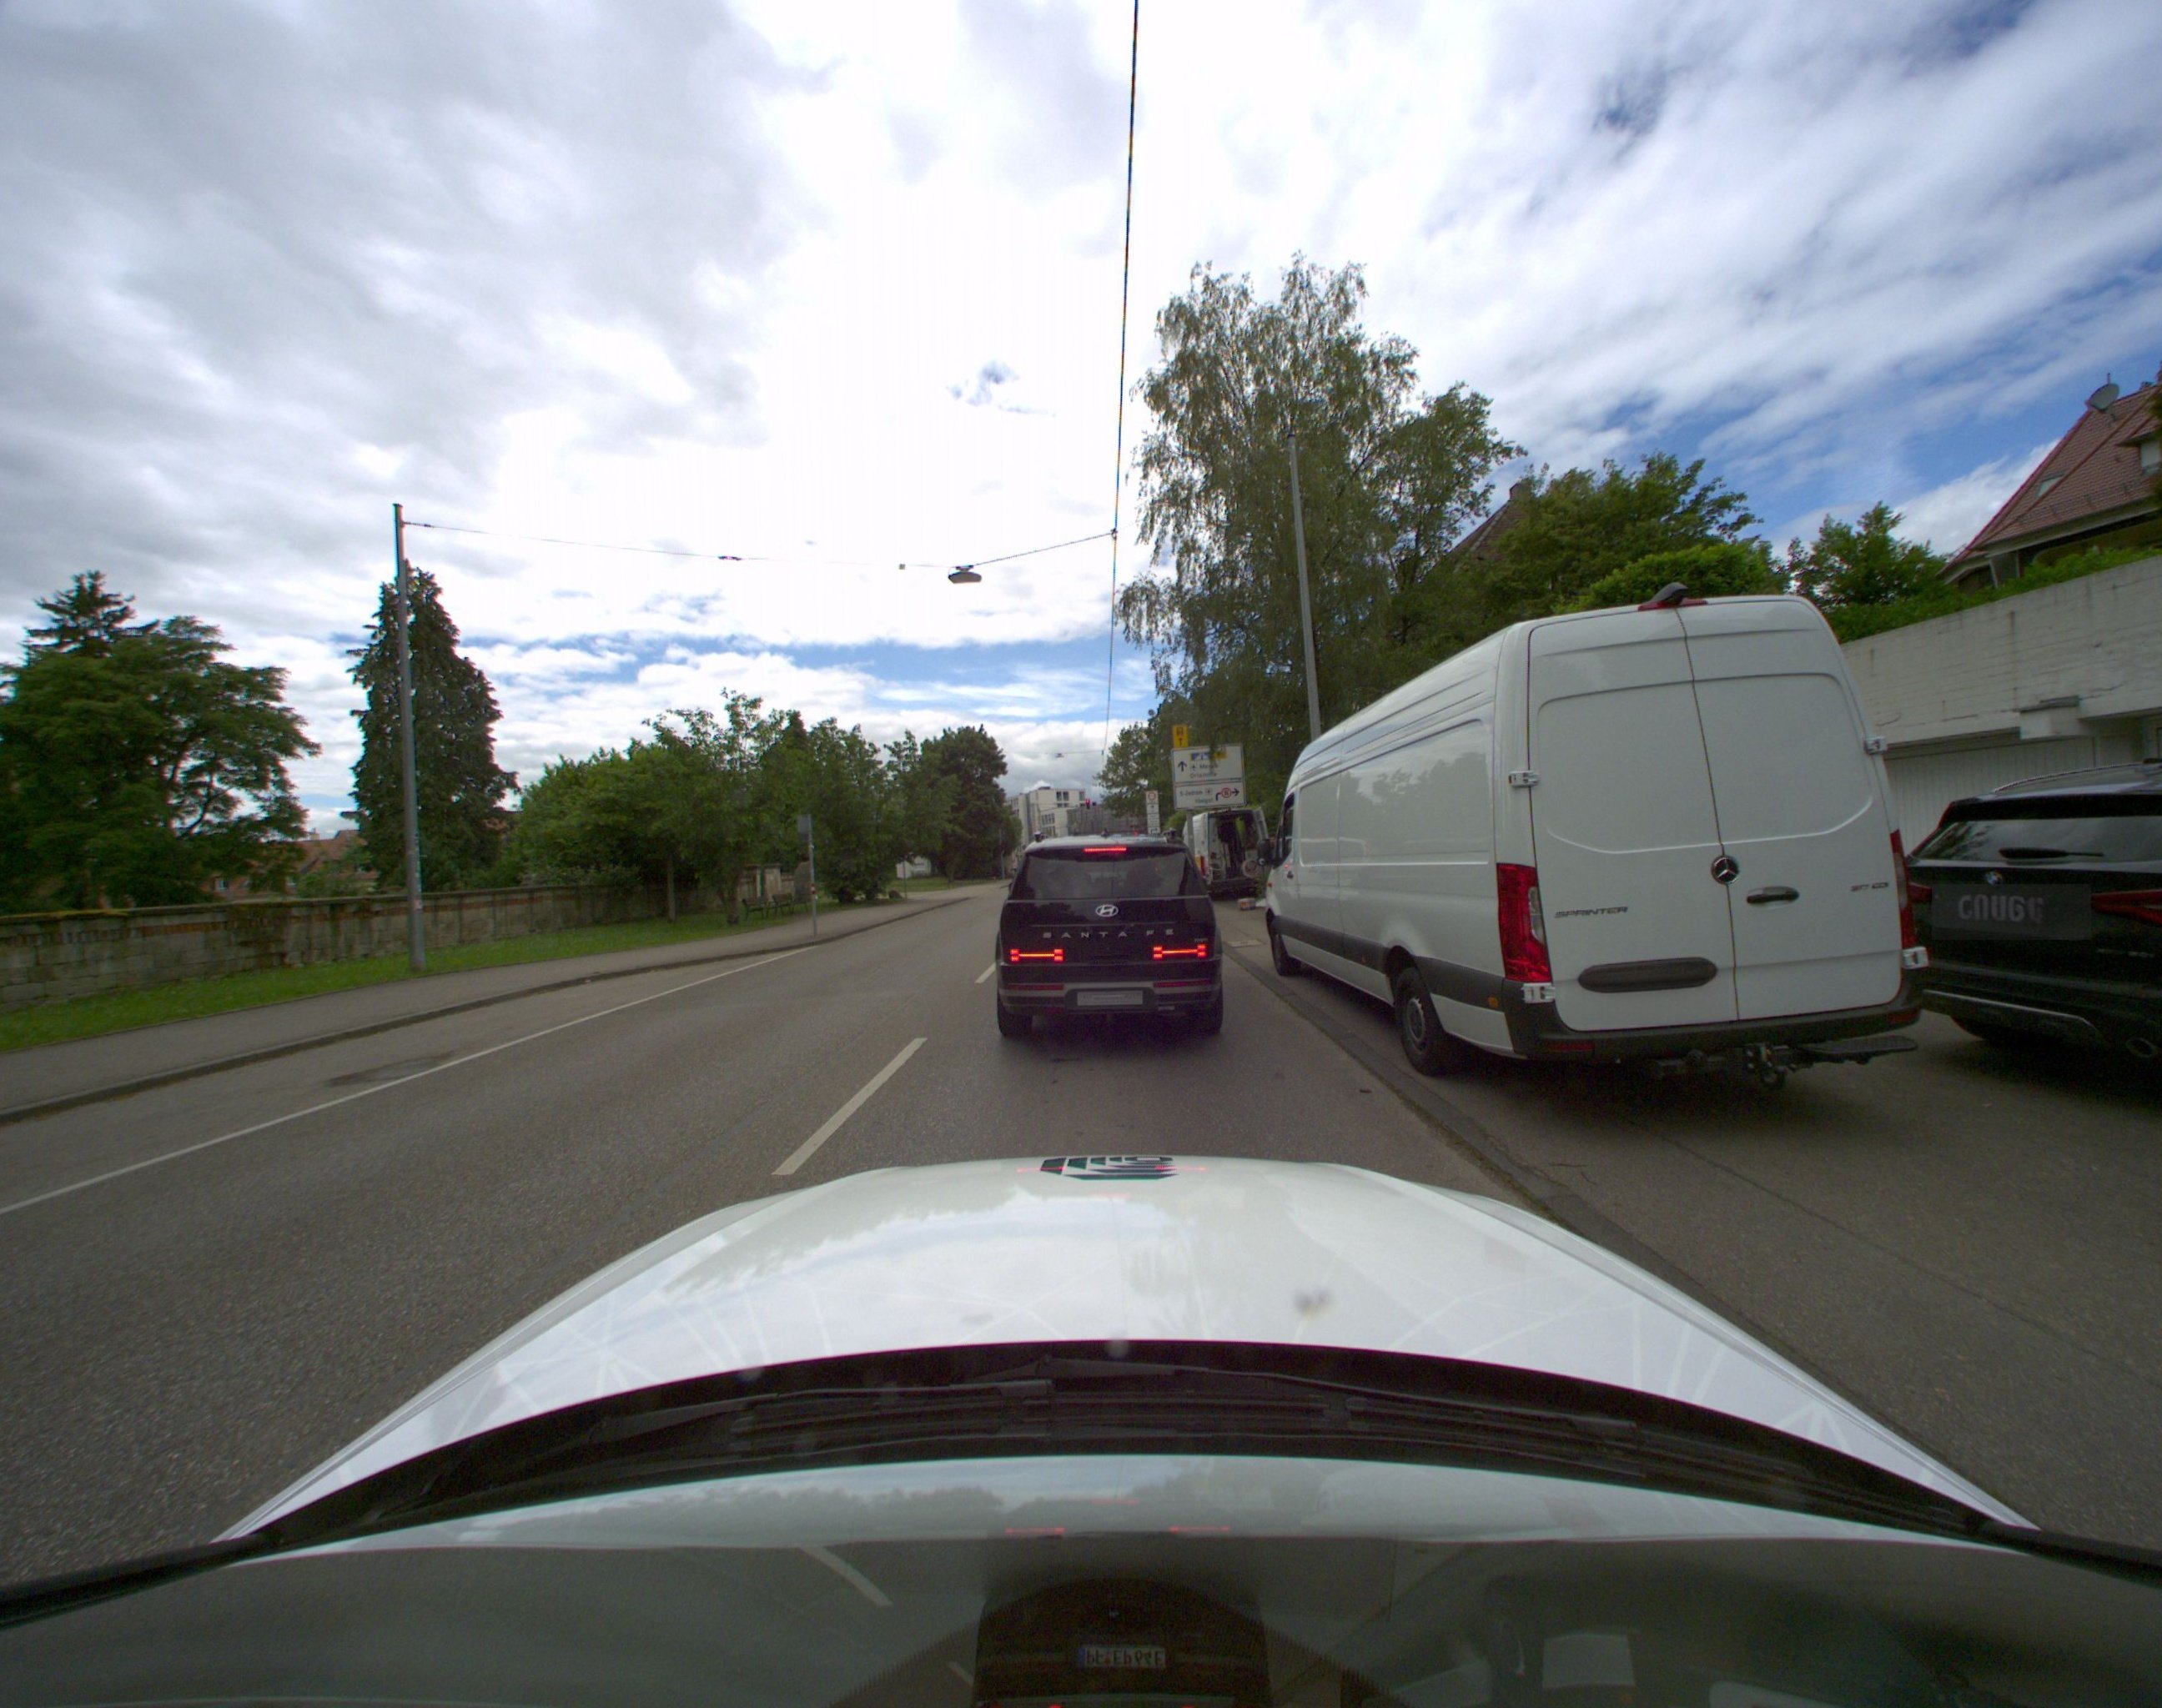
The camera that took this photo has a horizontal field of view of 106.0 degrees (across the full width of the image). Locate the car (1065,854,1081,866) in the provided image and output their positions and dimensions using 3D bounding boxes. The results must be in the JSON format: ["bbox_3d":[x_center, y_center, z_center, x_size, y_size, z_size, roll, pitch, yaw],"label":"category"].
[{"bbox_3d":[-0.967,0.779,104.970,1.750,1.403,4.416,-5,-1,2],"label":"car"}]

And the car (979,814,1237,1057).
[{"bbox_3d":[0.260,0.617,7.992,1.890,1.776,3.995,0,-1,2],"label":"car"}]

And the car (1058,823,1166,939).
[{"bbox_3d":[0.614,0.493,16.456,1.890,2.042,3.995,0,-1,2],"label":"car"}]

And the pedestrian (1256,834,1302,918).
[{"bbox_3d":[4.084,0.443,16.861,0.732,1.643,0.803,-4,-1,8],"label":"pedestrian"}]

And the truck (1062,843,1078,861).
[{"bbox_3d":[-2.600,-0.434,187.503,3.101,3.859,9.607,-3,0,-4],"label":"truck"}]

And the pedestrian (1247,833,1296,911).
[{"bbox_3d":[4.344,0.406,18.558,0.756,1.721,0.783,0,-1,-36],"label":"pedestrian"}]

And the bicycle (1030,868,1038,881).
[{"bbox_3d":[-3.769,1.639,65.598,0.493,0.964,1.749,0,-1,2],"label":"bicycle"}]

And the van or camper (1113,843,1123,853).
[{"bbox_3d":[7.748,-1.209,172.583,1.791,1.999,3.821,0,-1,-2],"label":"van or camper"}]

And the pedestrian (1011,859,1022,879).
[{"bbox_3d":[-5.646,1.322,71.306,0.764,1.748,0.904,-2,-1,0],"label":"pedestrian"}]

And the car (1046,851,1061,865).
[{"bbox_3d":[-4.906,0.667,144.598,2.328,2.315,4.950,-3,0,-4],"label":"car"}]

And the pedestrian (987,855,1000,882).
[{"bbox_3d":[-6.798,1.129,63.587,0.826,2.014,1.048,0,-1,4],"label":"pedestrian"}]

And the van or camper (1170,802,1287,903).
[{"bbox_3d":[4.343,0.015,25.312,2.332,2.494,6.603,-6,-1,1],"label":"van or camper"}]

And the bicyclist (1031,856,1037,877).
[{"bbox_3d":[-3.777,1.001,65.547,0.486,1.684,0.588,0,-1,1],"label":"bicyclist"}]

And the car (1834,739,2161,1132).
[{"bbox_3d":[6.785,0.213,4.049,4.365,1.675,1.696,-4,-1,2],"label":"car"}]

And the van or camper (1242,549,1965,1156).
[{"bbox_3d":[3.059,0.016,7.054,1.984,2.625,6.546,-6,-1,2],"label":"van or camper"}]
